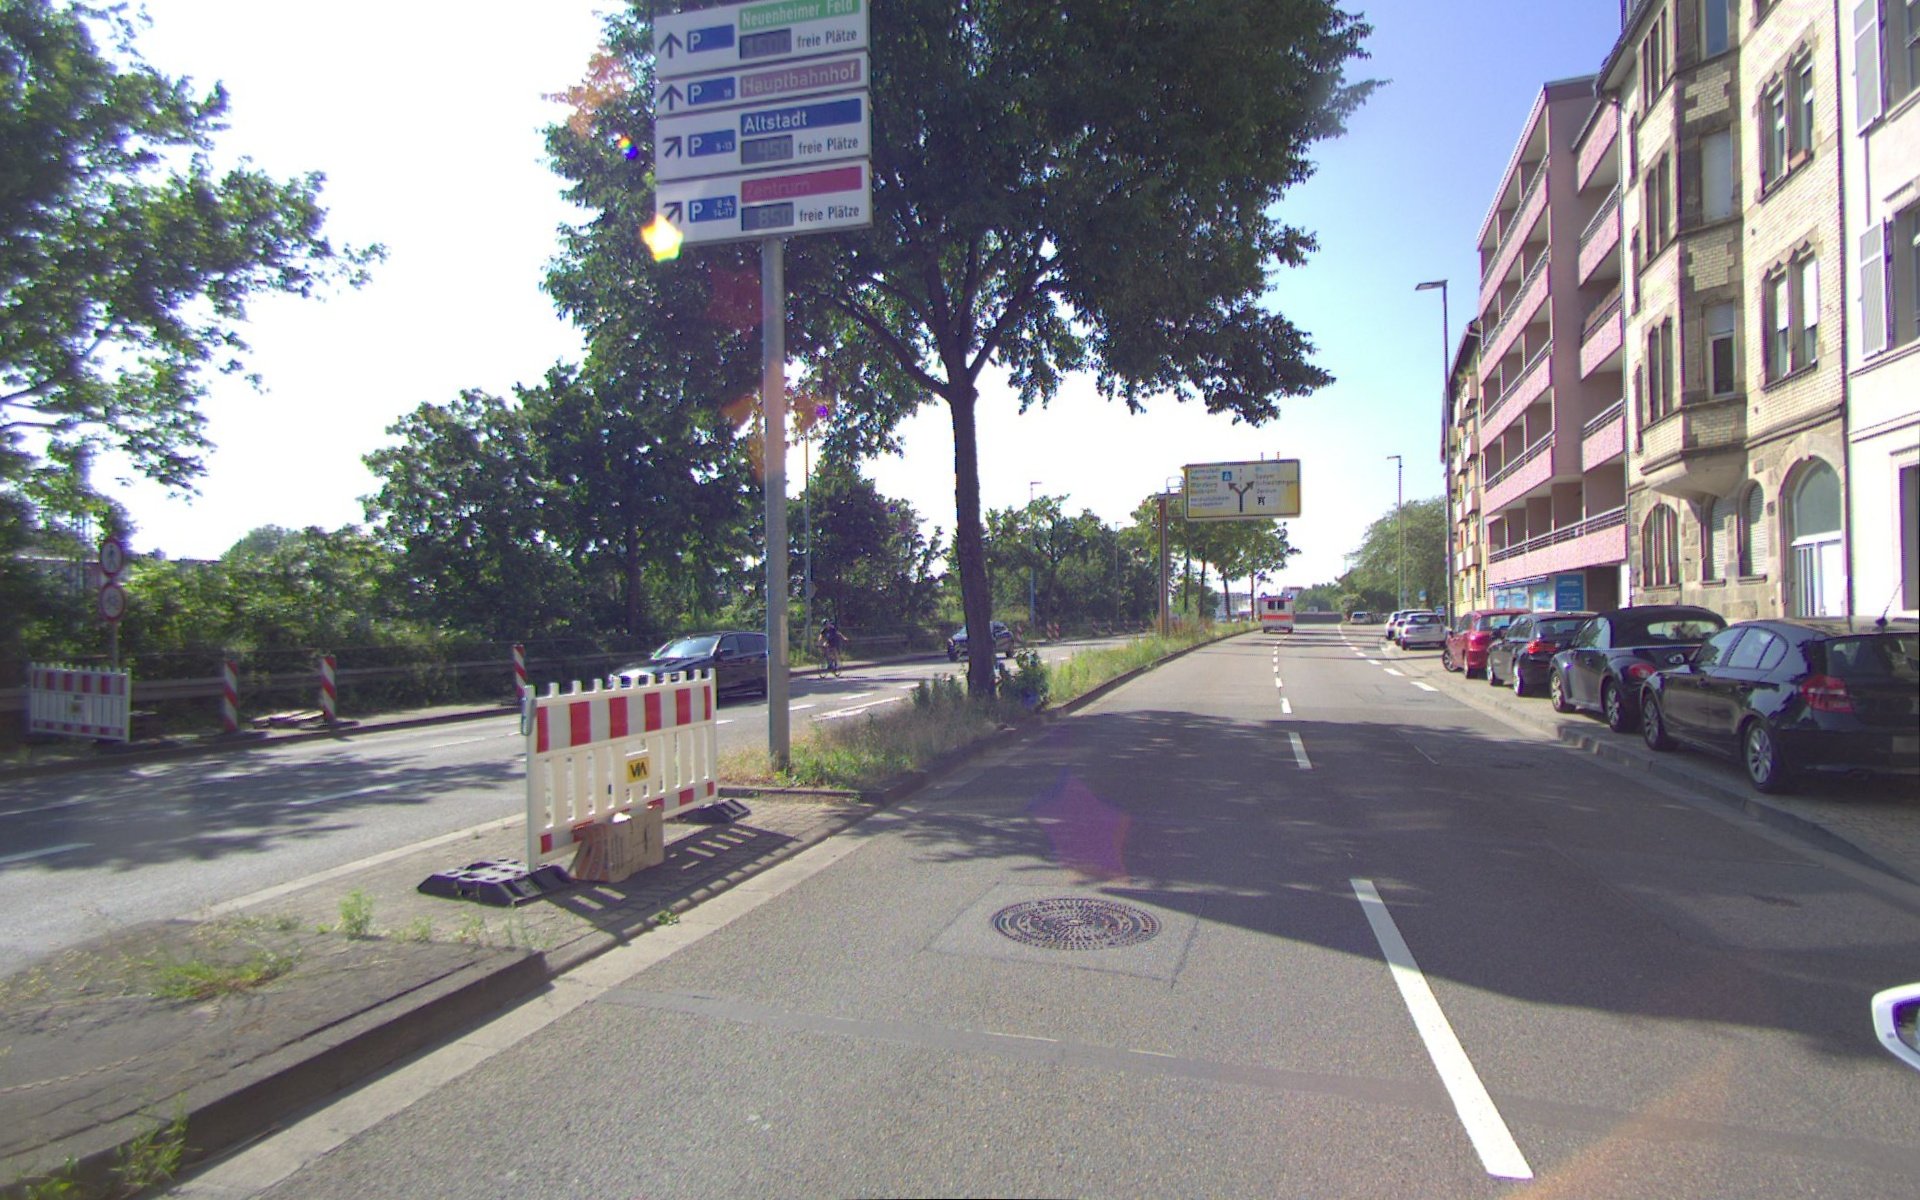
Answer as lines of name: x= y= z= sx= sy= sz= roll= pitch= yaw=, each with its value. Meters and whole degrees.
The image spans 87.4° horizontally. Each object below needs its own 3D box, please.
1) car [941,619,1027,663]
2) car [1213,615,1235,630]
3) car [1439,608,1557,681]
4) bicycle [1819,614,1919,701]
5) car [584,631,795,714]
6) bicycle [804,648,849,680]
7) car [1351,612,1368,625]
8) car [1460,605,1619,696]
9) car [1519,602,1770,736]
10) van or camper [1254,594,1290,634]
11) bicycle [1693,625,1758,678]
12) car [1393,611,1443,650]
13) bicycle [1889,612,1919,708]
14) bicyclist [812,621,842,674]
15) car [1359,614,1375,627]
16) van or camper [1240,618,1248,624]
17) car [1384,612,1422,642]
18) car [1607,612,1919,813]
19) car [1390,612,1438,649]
car: x=1.045 y=1.614 z=40.533 sx=1.961 sy=1.548 sz=4.697 roll=-3 pitch=-2 yaw=20
car: x=31.222 y=2.649 z=118.654 sx=1.621 sy=1.434 sz=3.965 roll=-7 pitch=-3 yaw=27
car: x=12.280 y=0.978 z=23.175 sx=1.756 sy=1.501 sz=4.000 roll=-3 pitch=-2 yaw=20
bicycle: x=13.204 y=0.796 z=14.419 sx=0.644 sy=1.161 sz=1.627 roll=-3 pitch=-1 yaw=15
car: x=-5.410 y=1.417 z=20.811 sx=1.961 sy=1.430 sz=4.616 roll=-3 pitch=-2 yaw=18
bicycle: x=-3.935 y=1.880 z=29.730 sx=0.486 sy=0.843 sz=1.806 roll=-2 pitch=-1 yaw=21
car: x=48.244 y=2.180 z=121.297 sx=1.594 sy=1.525 sz=3.457 roll=0 pitch=-1 yaw=26
car: x=10.521 y=0.877 z=18.550 sx=1.614 sy=1.472 sz=4.128 roll=-1 pitch=-1 yaw=17
car: x=9.013 y=0.856 z=13.619 sx=1.615 sy=1.521 sz=4.011 roll=-2 pitch=-2 yaw=17
van or camper: x=23.235 y=1.072 z=74.677 sx=2.258 sy=2.826 sz=5.571 roll=-1 pitch=-1 yaw=20
bicycle: x=14.926 y=0.989 z=19.621 sx=0.499 sy=0.983 sz=1.652 roll=-2 pitch=-1 yaw=20
car: x=18.360 y=1.185 z=40.393 sx=1.652 sy=1.427 sz=3.429 roll=-3 pitch=-2 yaw=23
bicycle: x=12.619 y=0.793 z=12.710 sx=0.556 sy=1.196 sz=1.627 roll=-3 pitch=1 yaw=15
bicyclist: x=-3.941 y=1.400 z=29.753 sx=0.564 sy=1.554 sz=0.778 roll=-1 pitch=-1 yaw=20
car: x=52.780 y=2.687 z=130.219 sx=1.743 sy=1.600 sz=4.184 roll=-1 pitch=-1 yaw=23
van or camper: x=60.384 y=4.480 z=213.591 sx=1.443 sy=1.368 sz=4.630 roll=-1 pitch=-1 yaw=20
car: x=23.798 y=1.418 z=54.038 sx=1.728 sy=1.526 sz=4.126 roll=0 pitch=-1 yaw=22
car: x=7.569 y=0.848 z=9.157 sx=1.711 sy=1.435 sz=4.082 roll=-1 pitch=-1 yaw=17
car: x=20.233 y=1.337 z=44.909 sx=1.708 sy=1.561 sz=4.352 roll=-2 pitch=-1 yaw=22
